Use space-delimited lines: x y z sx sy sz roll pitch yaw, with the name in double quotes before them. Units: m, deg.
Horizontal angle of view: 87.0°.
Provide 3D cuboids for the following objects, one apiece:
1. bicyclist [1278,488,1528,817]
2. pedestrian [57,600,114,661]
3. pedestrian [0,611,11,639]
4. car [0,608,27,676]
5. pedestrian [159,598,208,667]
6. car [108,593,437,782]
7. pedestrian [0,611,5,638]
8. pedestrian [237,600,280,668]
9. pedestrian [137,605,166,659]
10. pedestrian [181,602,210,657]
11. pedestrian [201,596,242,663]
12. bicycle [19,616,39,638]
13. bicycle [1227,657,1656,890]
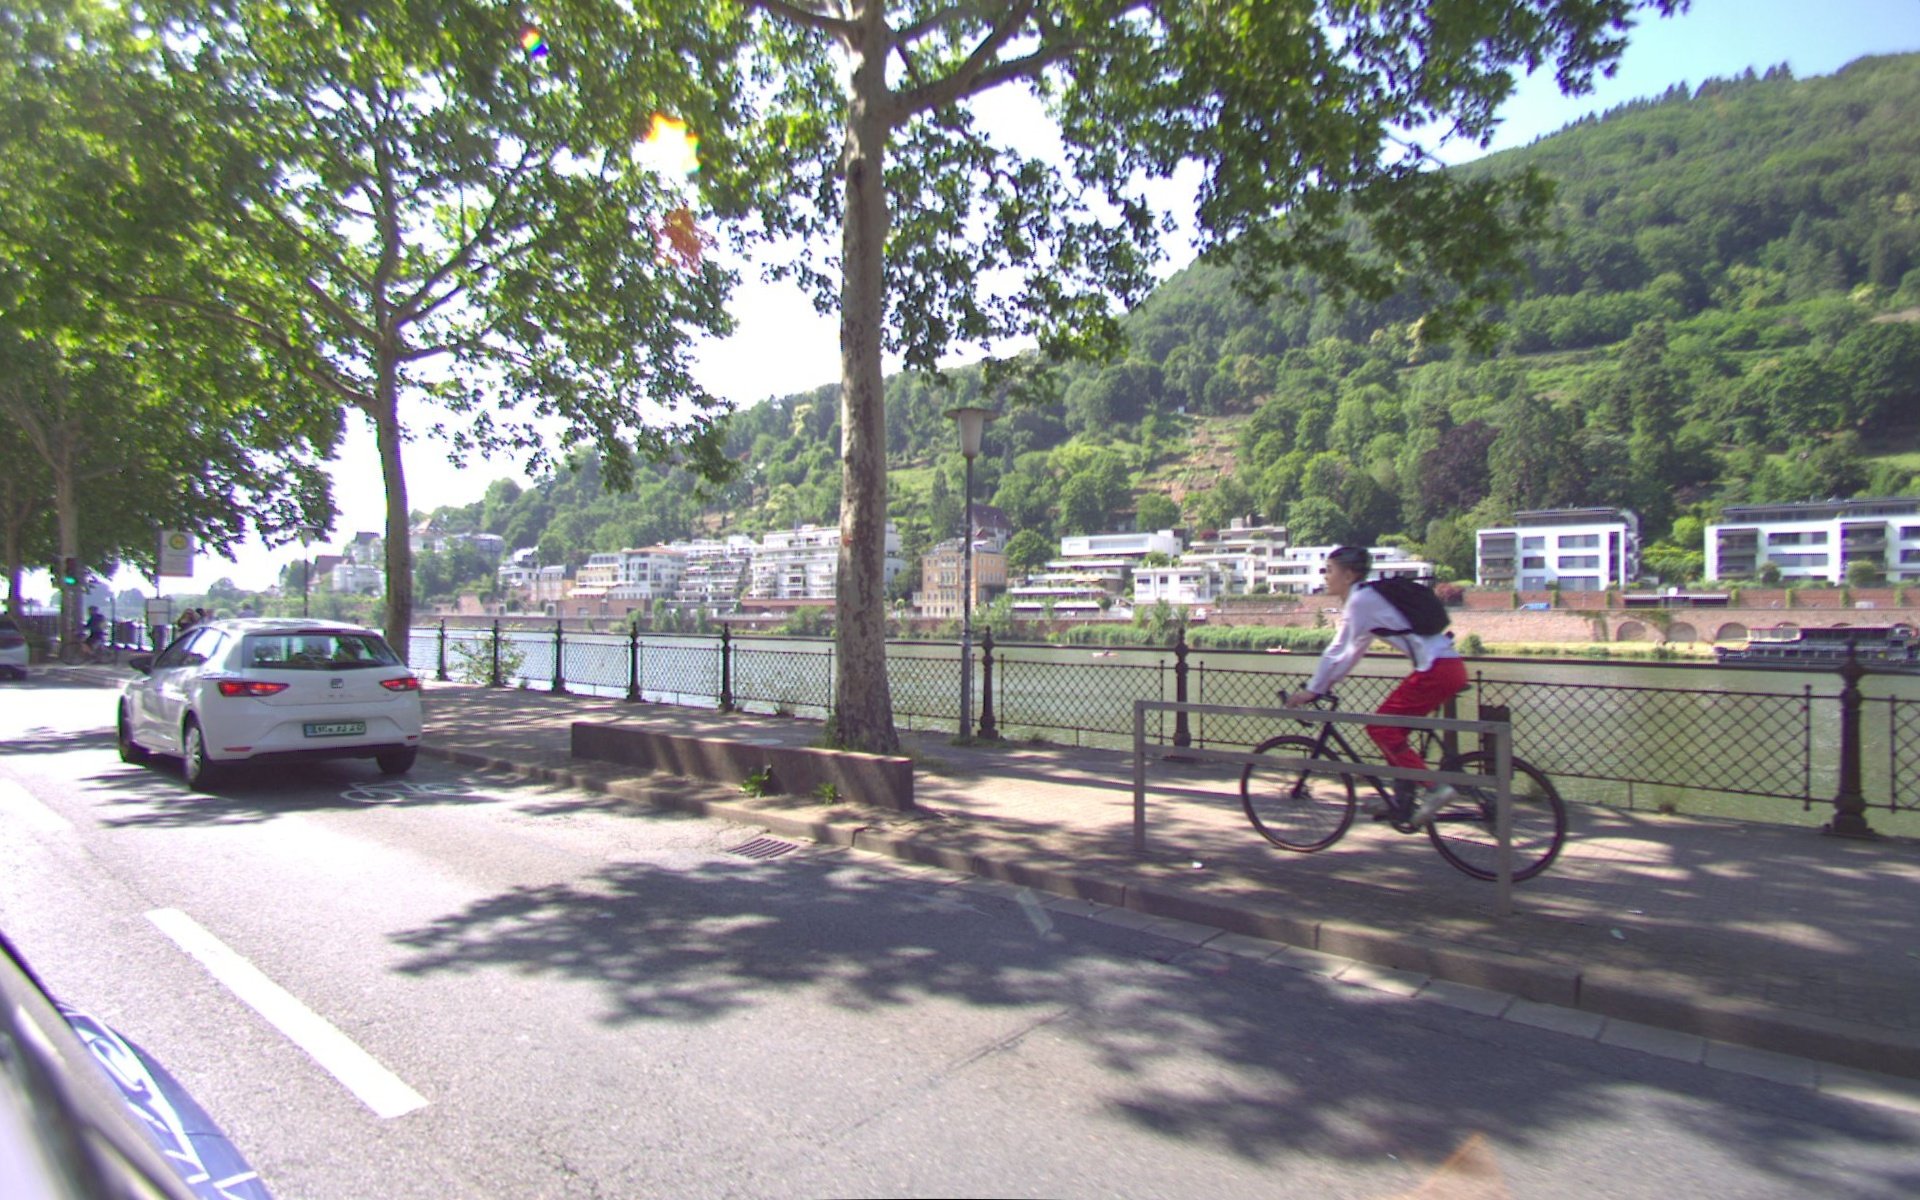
"bicyclist" 2.408 0.261 5.535 1.089 1.595 0.712 -1 -1 42
"pedestrian" -26.037 0.902 30.149 1.008 1.786 0.770 0 -1 -9
"pedestrian" -58.113 1.523 61.356 0.709 1.696 0.783 -1 -1 40
"car" -23.385 0.939 23.720 4.402 1.529 1.717 0 -2 41
"pedestrian" -19.852 0.812 25.874 0.782 1.726 0.827 -1 -1 40
"car" -6.812 0.735 9.850 4.089 1.456 1.683 -2 -1 41
"pedestrian" -58.050 1.495 61.013 0.552 1.640 0.625 -1 -1 40
"pedestrian" -18.879 0.906 27.229 0.971 1.777 0.704 -1 -1 40
"pedestrian" -24.666 0.969 30.881 0.991 1.630 0.488 -1 -1 40
"pedestrian" -24.116 0.907 31.925 0.695 1.713 0.612 -1 0 40
"pedestrian" -19.447 0.774 26.659 0.792 1.727 0.646 -1 -3 39
"bicycle" -51.243 1.468 55.696 1.843 1.161 0.557 0 1 40
"bicycle" 2.517 0.827 5.446 1.951 0.986 0.747 -2 -2 40
